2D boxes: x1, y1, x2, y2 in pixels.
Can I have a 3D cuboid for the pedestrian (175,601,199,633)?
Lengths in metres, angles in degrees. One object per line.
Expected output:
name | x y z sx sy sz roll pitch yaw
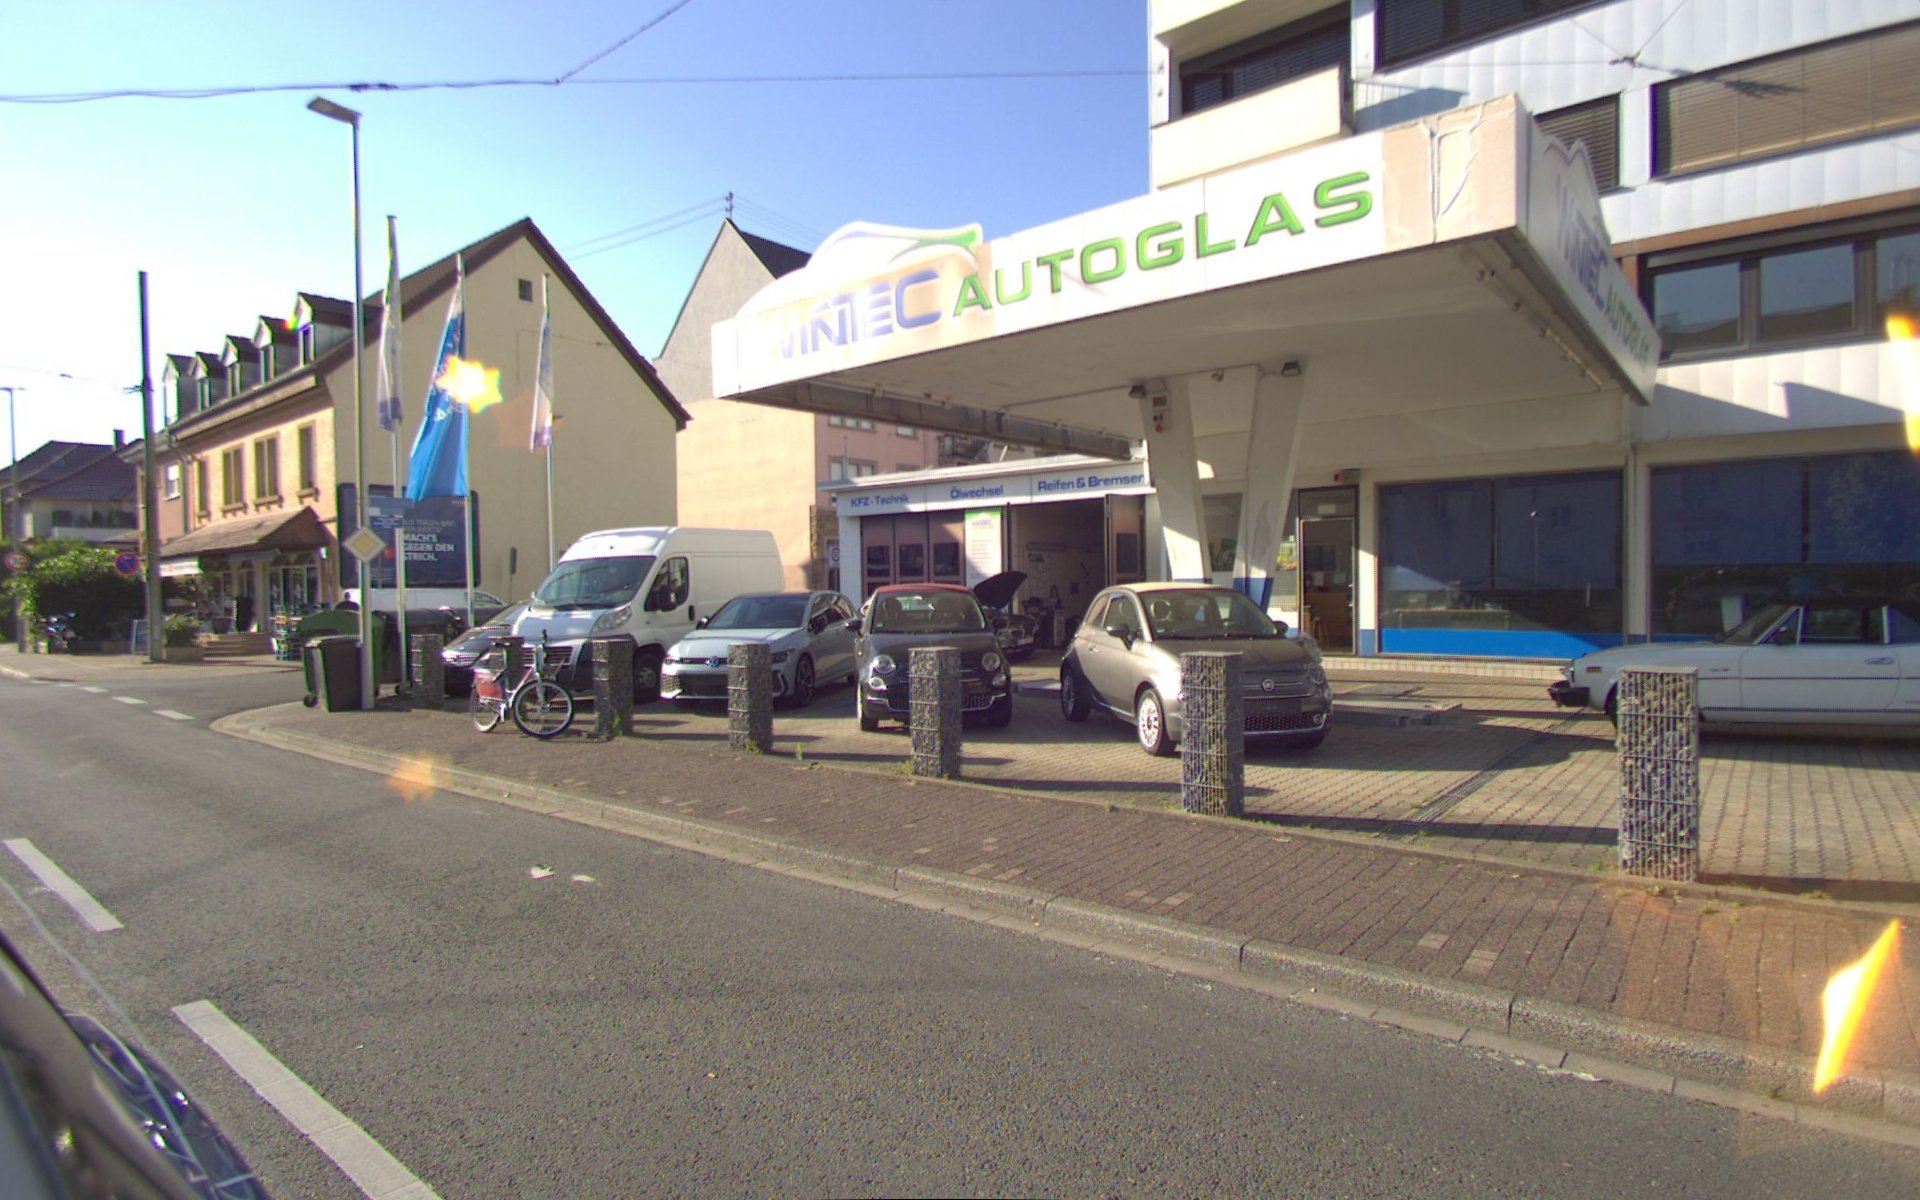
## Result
pedestrian | -26.176 0.581 34.256 0.381 1.055 0.521 -1 0 24

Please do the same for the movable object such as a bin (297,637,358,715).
movable object such as a bin | -9.330 1.109 14.925 0.652 1.070 0.586 -4 1 -38

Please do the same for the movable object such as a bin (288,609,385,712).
movable object such as a bin | -9.806 0.940 15.983 1.040 1.494 1.316 -3 -2 -21

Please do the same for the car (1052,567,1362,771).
car | 2.157 0.524 9.796 1.595 1.580 3.402 -1 1 -11

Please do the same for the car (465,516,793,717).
car | -4.648 0.162 15.239 2.091 2.488 5.042 -1 1 18

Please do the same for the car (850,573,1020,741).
car | -0.421 0.531 11.501 1.597 1.580 3.399 -1 1 -6

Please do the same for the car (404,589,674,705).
car | -6.844 0.690 16.909 1.763 1.580 3.966 -2 1 26

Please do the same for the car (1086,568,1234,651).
car | 4.799 0.170 23.834 1.769 1.722 4.263 -2 1 36

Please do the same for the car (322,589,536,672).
car | -13.835 0.713 26.607 1.997 1.947 4.571 -1 0 38

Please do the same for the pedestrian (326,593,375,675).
pedestrian | -14.497 0.795 24.070 0.795 1.882 0.808 -1 0 45

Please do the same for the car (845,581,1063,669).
car | -0.186 0.493 20.737 4.311 1.580 1.750 -1 1 39

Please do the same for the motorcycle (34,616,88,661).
motorcycle | -28.045 1.179 31.559 2.229 1.292 0.831 0 2 37

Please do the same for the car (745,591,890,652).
car | -4.184 0.577 30.166 1.999 1.536 3.947 5 4 40

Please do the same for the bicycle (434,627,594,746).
bicycle | -4.931 0.906 11.158 1.774 1.186 0.718 -1 0 31

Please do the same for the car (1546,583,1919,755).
car | 7.439 0.530 8.552 4.131 1.294 1.572 -2 0 37

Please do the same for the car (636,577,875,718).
car | -2.553 0.519 13.660 1.754 1.580 3.987 -2 1 11

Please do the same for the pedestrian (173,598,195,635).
pedestrian | -26.995 0.570 35.202 0.465 1.268 0.517 -1 0 42

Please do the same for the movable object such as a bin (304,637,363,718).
movable object such as a bin | -8.932 1.097 14.422 0.631 1.077 0.581 -2 -2 -38
